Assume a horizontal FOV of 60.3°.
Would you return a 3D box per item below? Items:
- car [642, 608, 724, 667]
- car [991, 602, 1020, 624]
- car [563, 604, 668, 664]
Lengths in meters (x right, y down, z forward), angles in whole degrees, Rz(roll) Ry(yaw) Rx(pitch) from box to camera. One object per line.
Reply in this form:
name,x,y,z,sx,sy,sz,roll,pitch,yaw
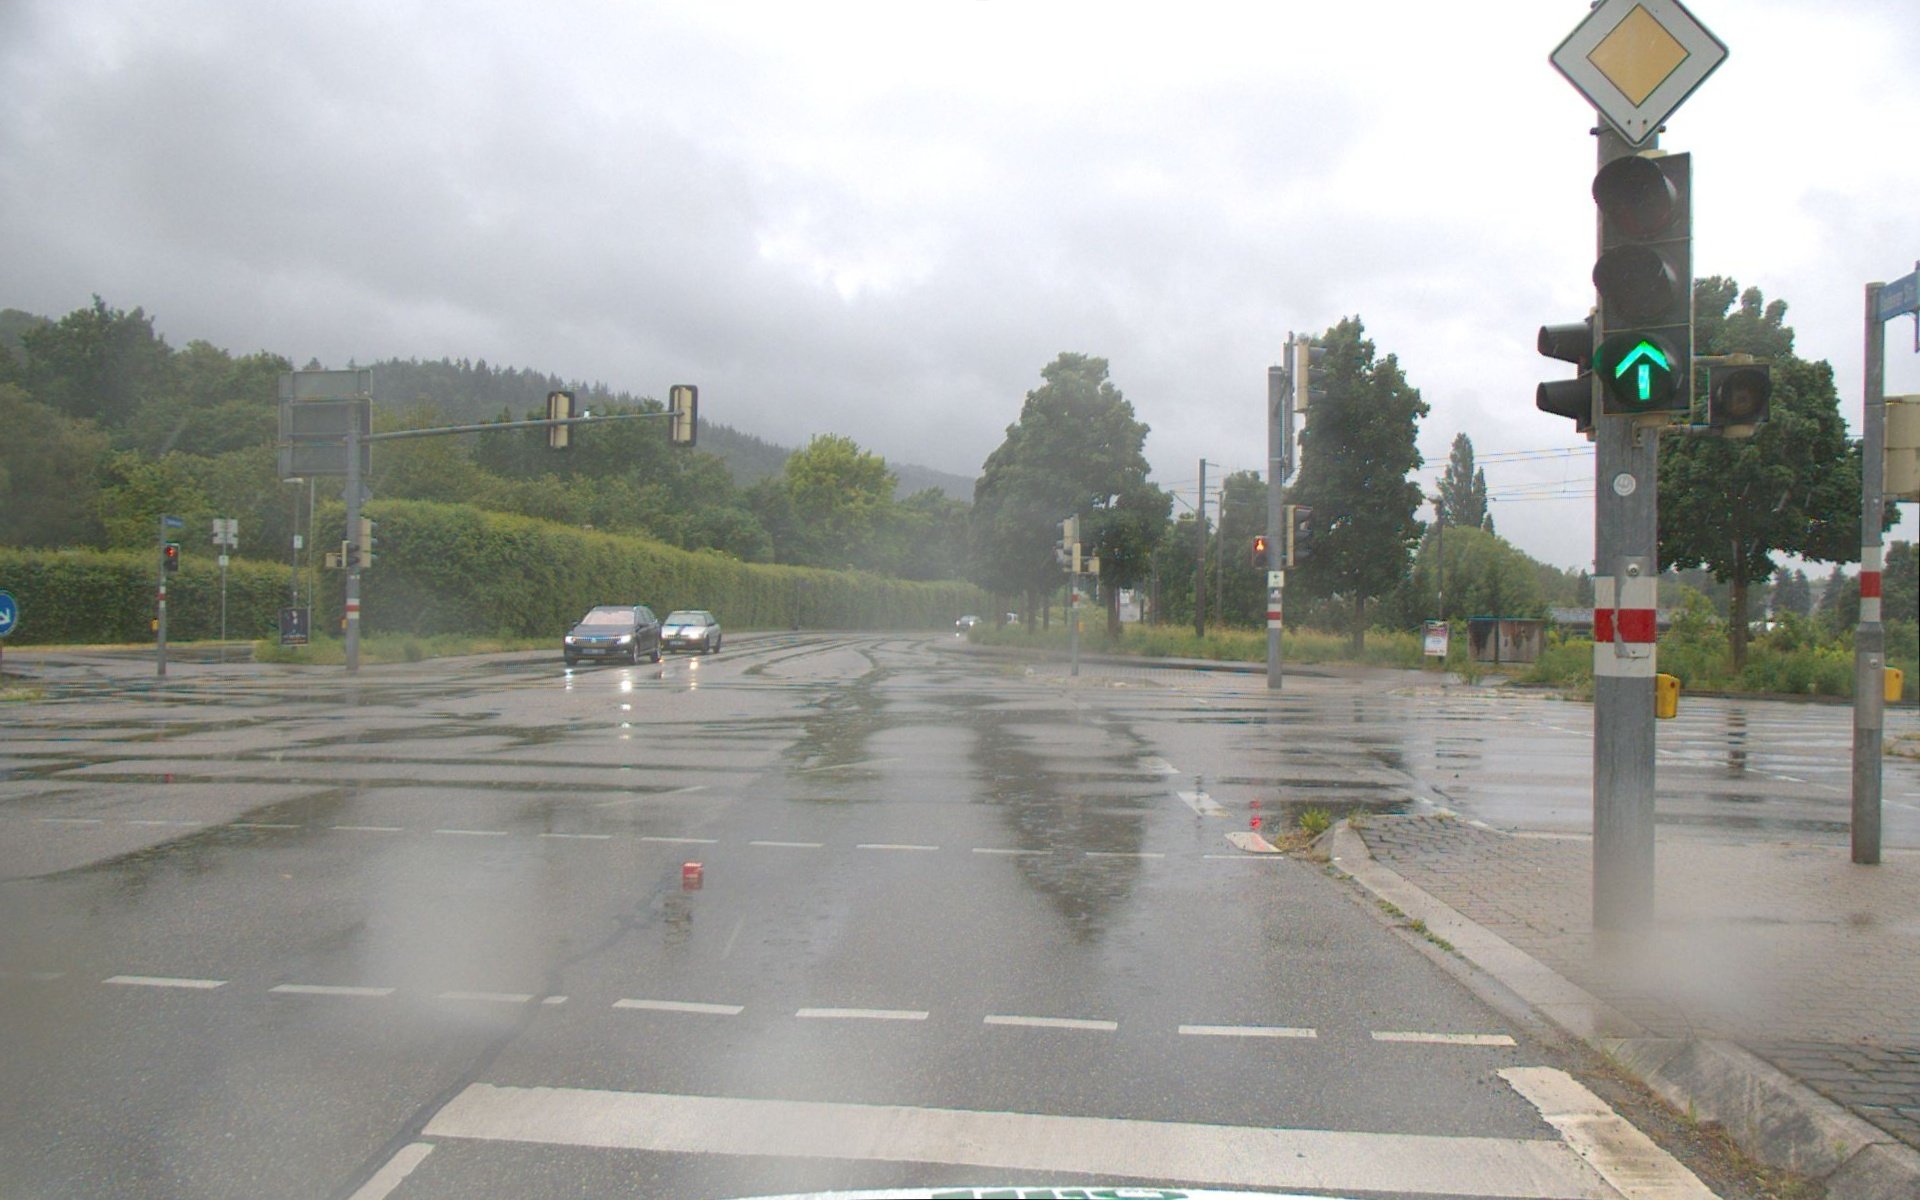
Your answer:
car,-8.940,1.178,53.635,1.995,1.738,4.065,1,0,-1
car,4.165,1.173,150.415,1.912,1.937,4.123,0,0,13
car,-8.949,0.850,43.301,1.673,1.491,4.454,0,0,2
